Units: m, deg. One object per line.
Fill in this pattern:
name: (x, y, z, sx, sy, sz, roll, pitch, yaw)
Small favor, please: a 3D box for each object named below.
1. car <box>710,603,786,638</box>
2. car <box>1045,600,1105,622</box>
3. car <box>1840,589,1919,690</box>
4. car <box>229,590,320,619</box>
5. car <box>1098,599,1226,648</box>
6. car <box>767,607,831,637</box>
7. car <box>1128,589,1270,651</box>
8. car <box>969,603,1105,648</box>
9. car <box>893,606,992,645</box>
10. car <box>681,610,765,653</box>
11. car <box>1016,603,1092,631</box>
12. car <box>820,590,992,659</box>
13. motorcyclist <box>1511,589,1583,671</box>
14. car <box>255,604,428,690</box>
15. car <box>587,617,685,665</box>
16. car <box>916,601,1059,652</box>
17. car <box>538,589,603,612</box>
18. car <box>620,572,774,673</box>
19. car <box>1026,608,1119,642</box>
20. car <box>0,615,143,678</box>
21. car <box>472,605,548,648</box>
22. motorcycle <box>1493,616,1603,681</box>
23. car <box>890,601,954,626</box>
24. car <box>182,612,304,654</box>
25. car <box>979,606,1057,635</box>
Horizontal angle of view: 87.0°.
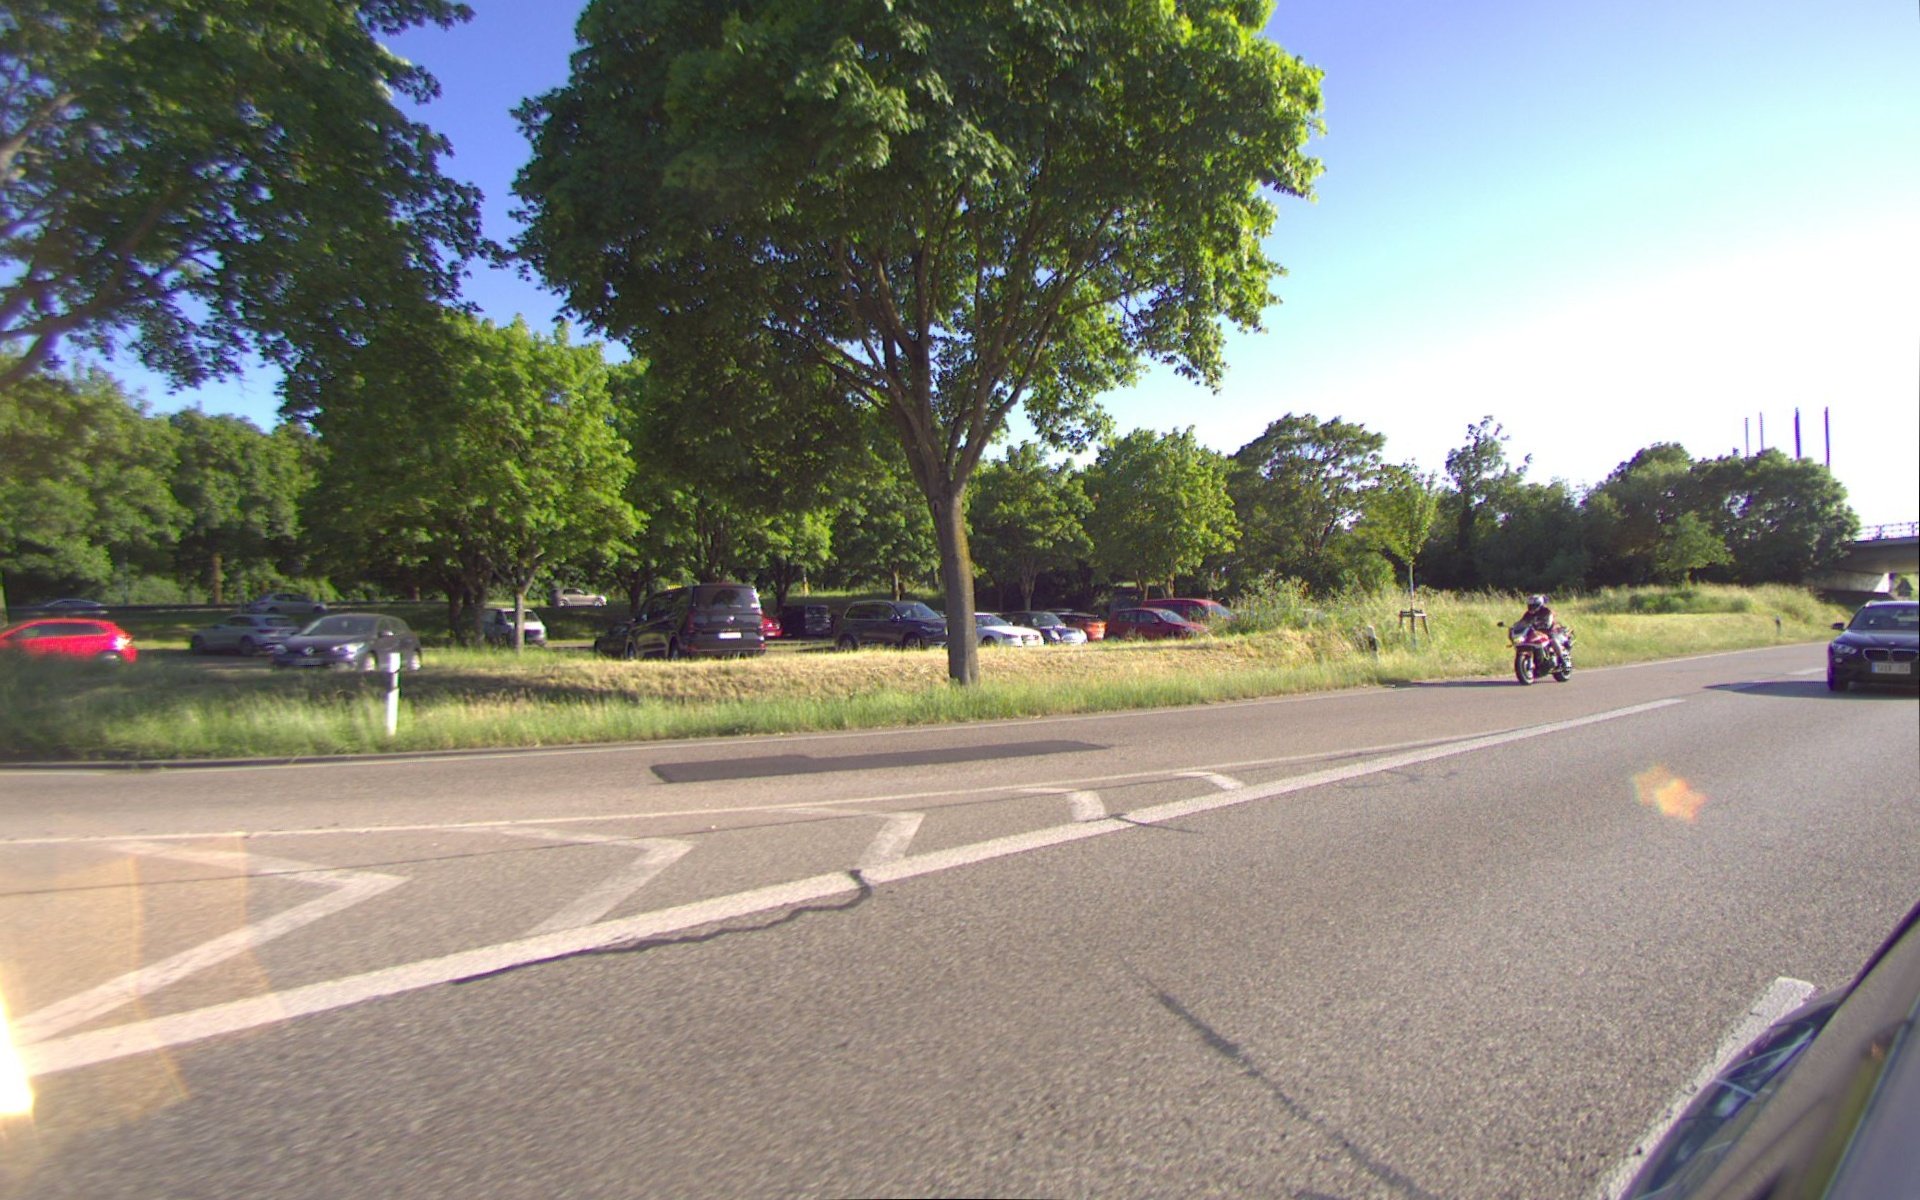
car: (-12.051, 1.148, 57.448, 4.582, 1.798, 1.917, 1, 2, 43)
car: (8.317, 0.821, 73.721, 1.836, 1.441, 4.114, -4, 2, -43)
car: (16.930, 0.614, 17.713, 4.500, 1.525, 1.702, -2, 1, -41)
car: (-39.709, 0.277, 58.706, 1.894, 1.597, 3.956, -1, -1, 31)
car: (7.017, 0.845, 35.400, 1.927, 1.520, 4.012, -1, -2, -41)
car: (-9.462, 1.307, 59.368, 1.757, 1.580, 4.219, -2, -1, -40)
car: (8.769, 0.718, 37.471, 1.993, 2.048, 4.793, -4, 2, -43)
car: (2.383, 0.825, 32.322, 1.926, 1.233, 4.218, -1, -2, -40)
car: (-0.825, 1.138, 43.948, 2.001, 1.491, 4.656, -2, -2, -34)
car: (-10.483, 1.427, 44.501, 2.001, 1.684, 4.656, -2, -2, -34)
car: (5.311, 0.956, 57.429, 1.836, 1.441, 4.114, -4, 2, -43)
car: (-1.619, 0.730, 28.838, 2.189, 1.700, 4.855, -1, -2, -44)
motorcyclist: (10.924, 0.532, 18.824, 1.074, 1.466, 0.818, 0, 0, -38)
car: (-13.219, 0.982, 21.945, 1.751, 1.580, 4.232, -2, -1, -10)
car: (-11.304, 1.371, 35.168, 1.947, 1.427, 4.134, -1, 1, -38)
car: (0.759, 0.822, 30.421, 1.927, 1.327, 4.217, -1, -2, -41)
car: (-27.815, 0.076, 72.384, 3.932, 1.597, 1.906, 0, -1, -42)
car: (-6.470, 0.581, 24.425, 2.053, 2.163, 5.049, -2, -2, -33)
car: (5.391, 1.165, 48.728, 1.990, 1.441, 4.114, -4, 2, -43)
car: (-23.537, 1.164, 25.637, 1.690, 1.482, 4.102, -1, -1, 32)
car: (-21.853, 1.229, 49.024, 1.923, 1.889, 5.199, -1, 1, -41)
motorcycle: (11.009, 0.862, 18.883, 2.784, 1.083, 0.818, -1, 0, -39)
car: (-2.482, 0.896, 64.841, 1.836, 1.441, 4.114, -4, 2, -43)
car: (-28.298, 1.304, 39.955, 4.169, 1.580, 1.777, -1, -1, 18)
car: (3.175, 1.103, 55.898, 1.836, 1.441, 4.114, -4, 2, -43)
